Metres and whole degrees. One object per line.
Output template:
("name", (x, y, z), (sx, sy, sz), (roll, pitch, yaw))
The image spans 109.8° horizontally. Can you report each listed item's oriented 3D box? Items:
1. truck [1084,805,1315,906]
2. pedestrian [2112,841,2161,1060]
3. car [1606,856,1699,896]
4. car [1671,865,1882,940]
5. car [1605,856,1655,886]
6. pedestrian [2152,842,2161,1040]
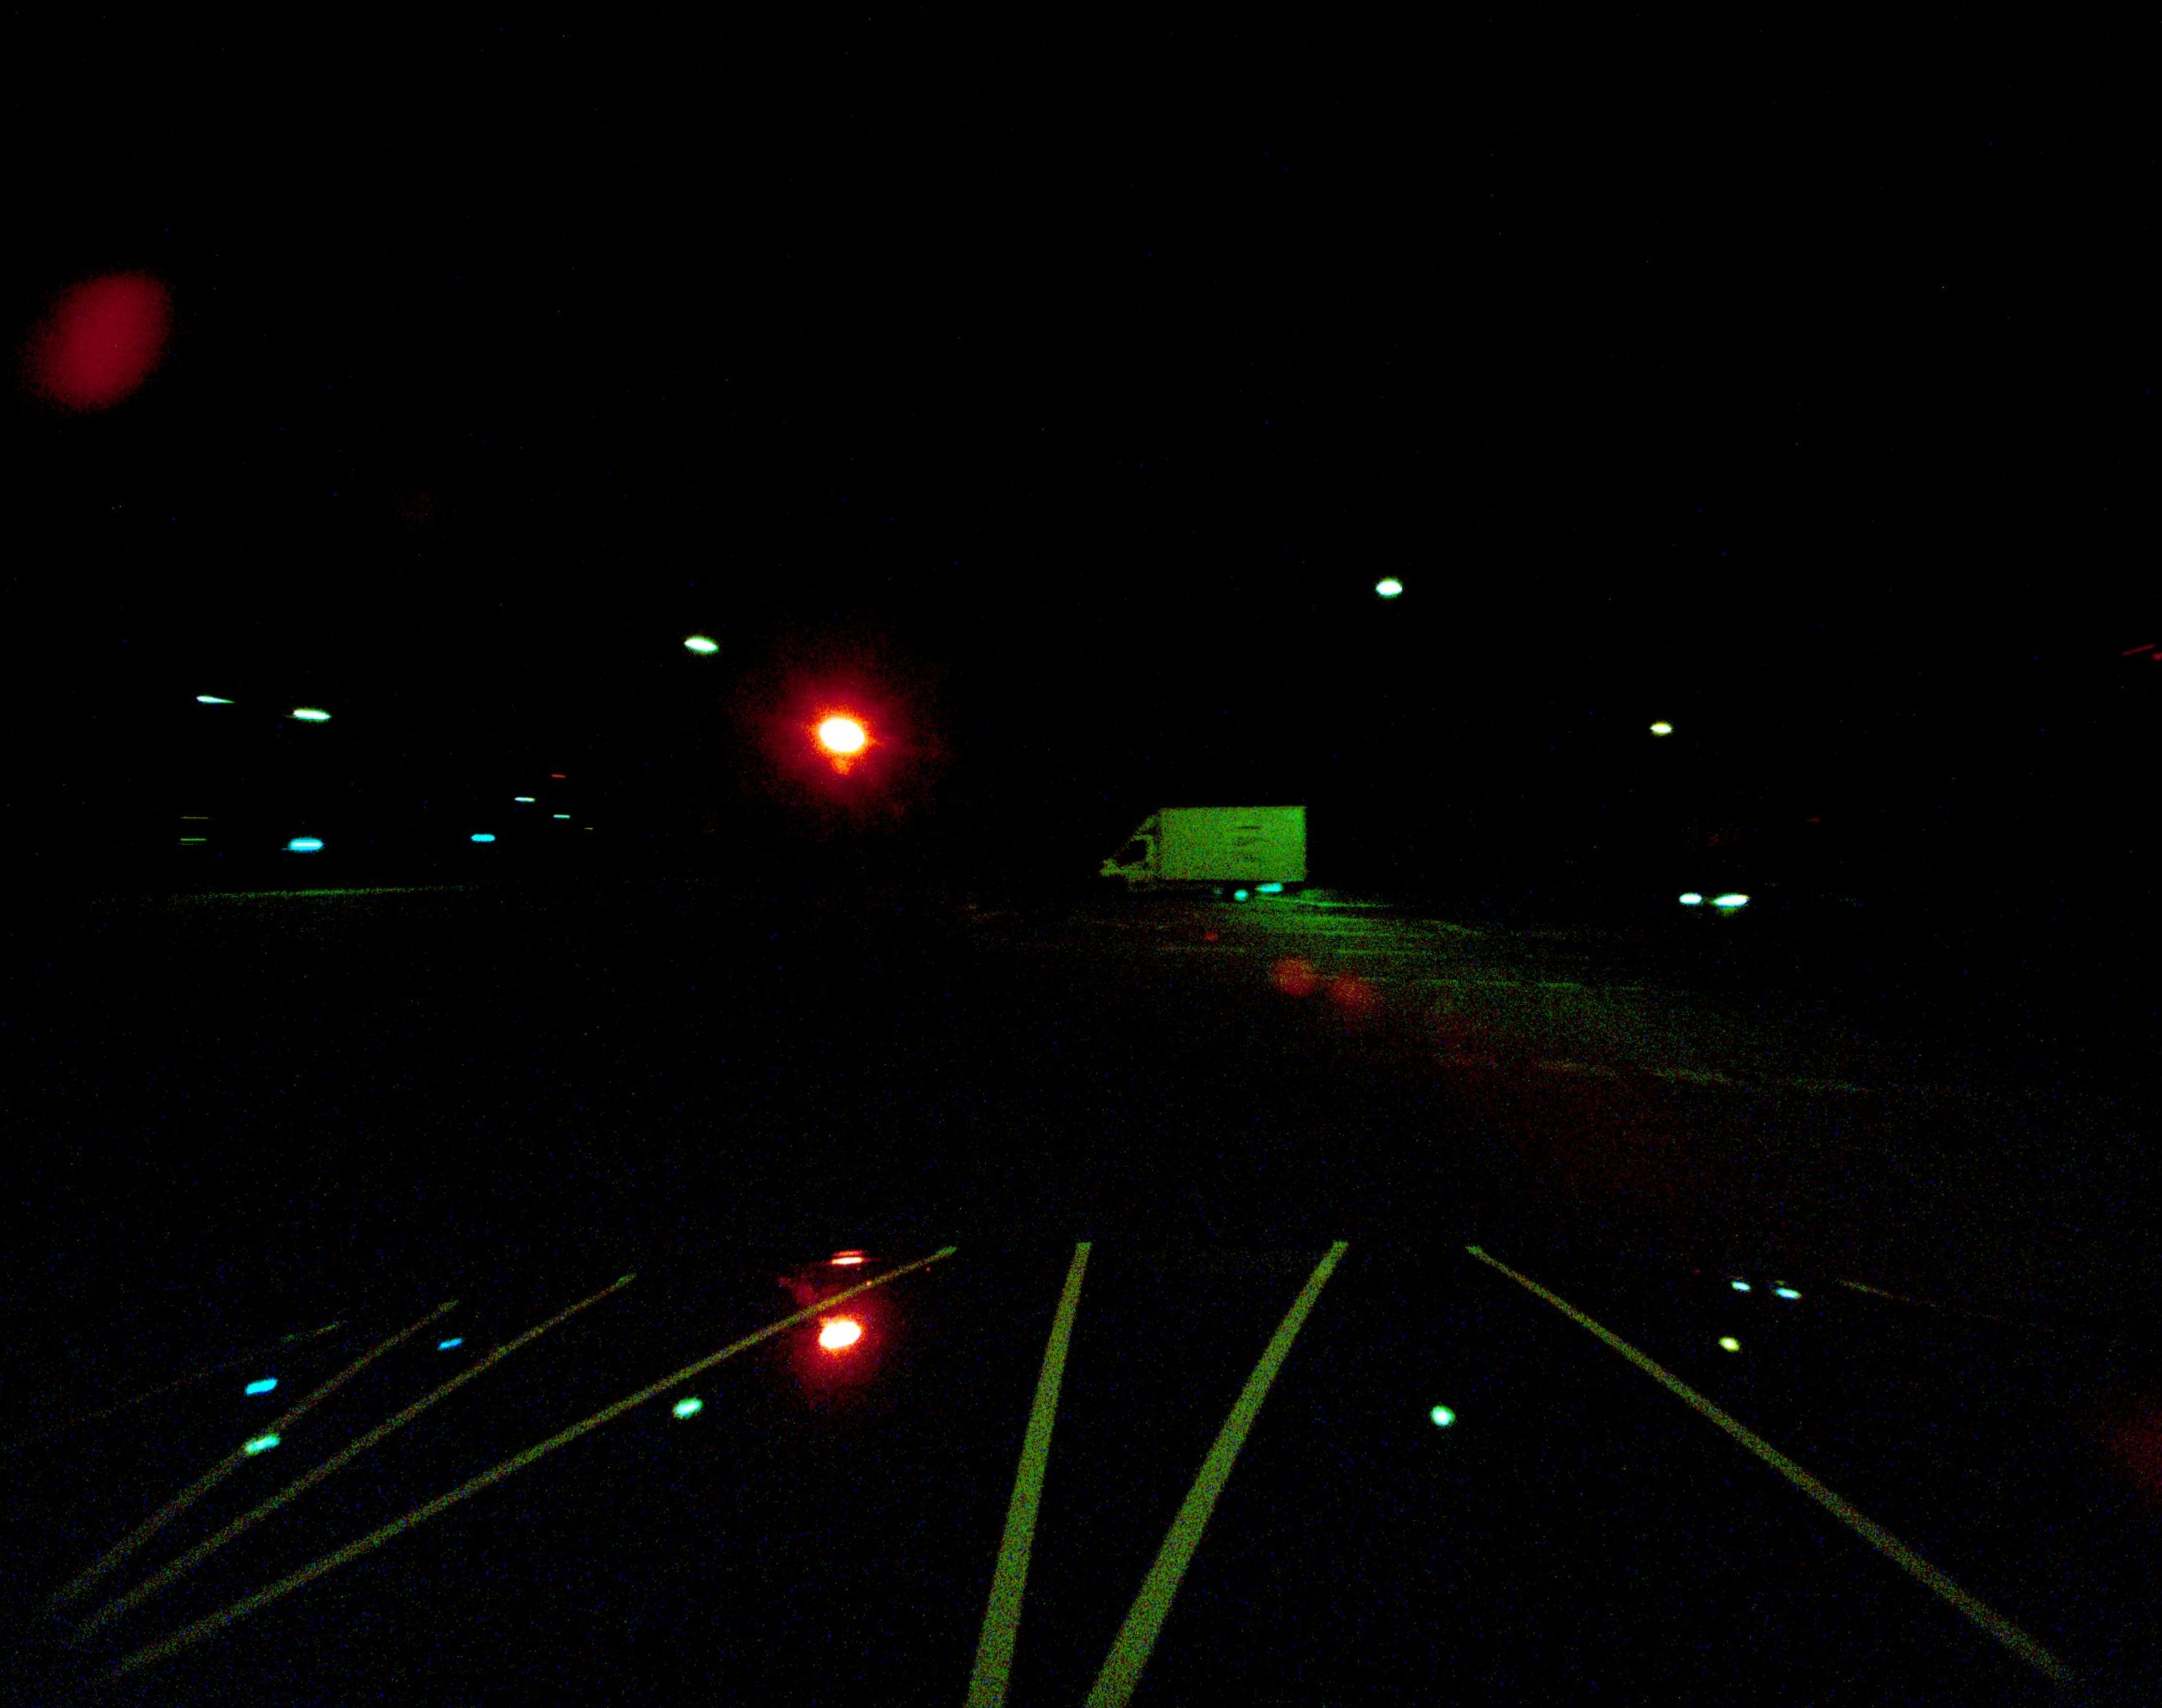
("truck", (3.831, -0.039, 24.862), (7.024, 3.028, 2.774), (0, 4, 12))
("pedestrian", (9.010, 0.779, 5.910), (0.727, 1.759, 0.966), (1, 0, 16))
("car", (24.086, 0.887, 32.225), (2.048, 1.546, 4.261), (0, 0, 21))
("car", (14.689, 0.981, 16.182), (3.046, 1.492, 1.515), (0, 0, 3))
("car", (26.993, 0.830, 37.434), (1.874, 1.379, 4.085), (-1, -1, 35))
("pedestrian", (9.865, 0.780, 6.527), (0.522, 1.781, 0.694), (1, 0, 30))
